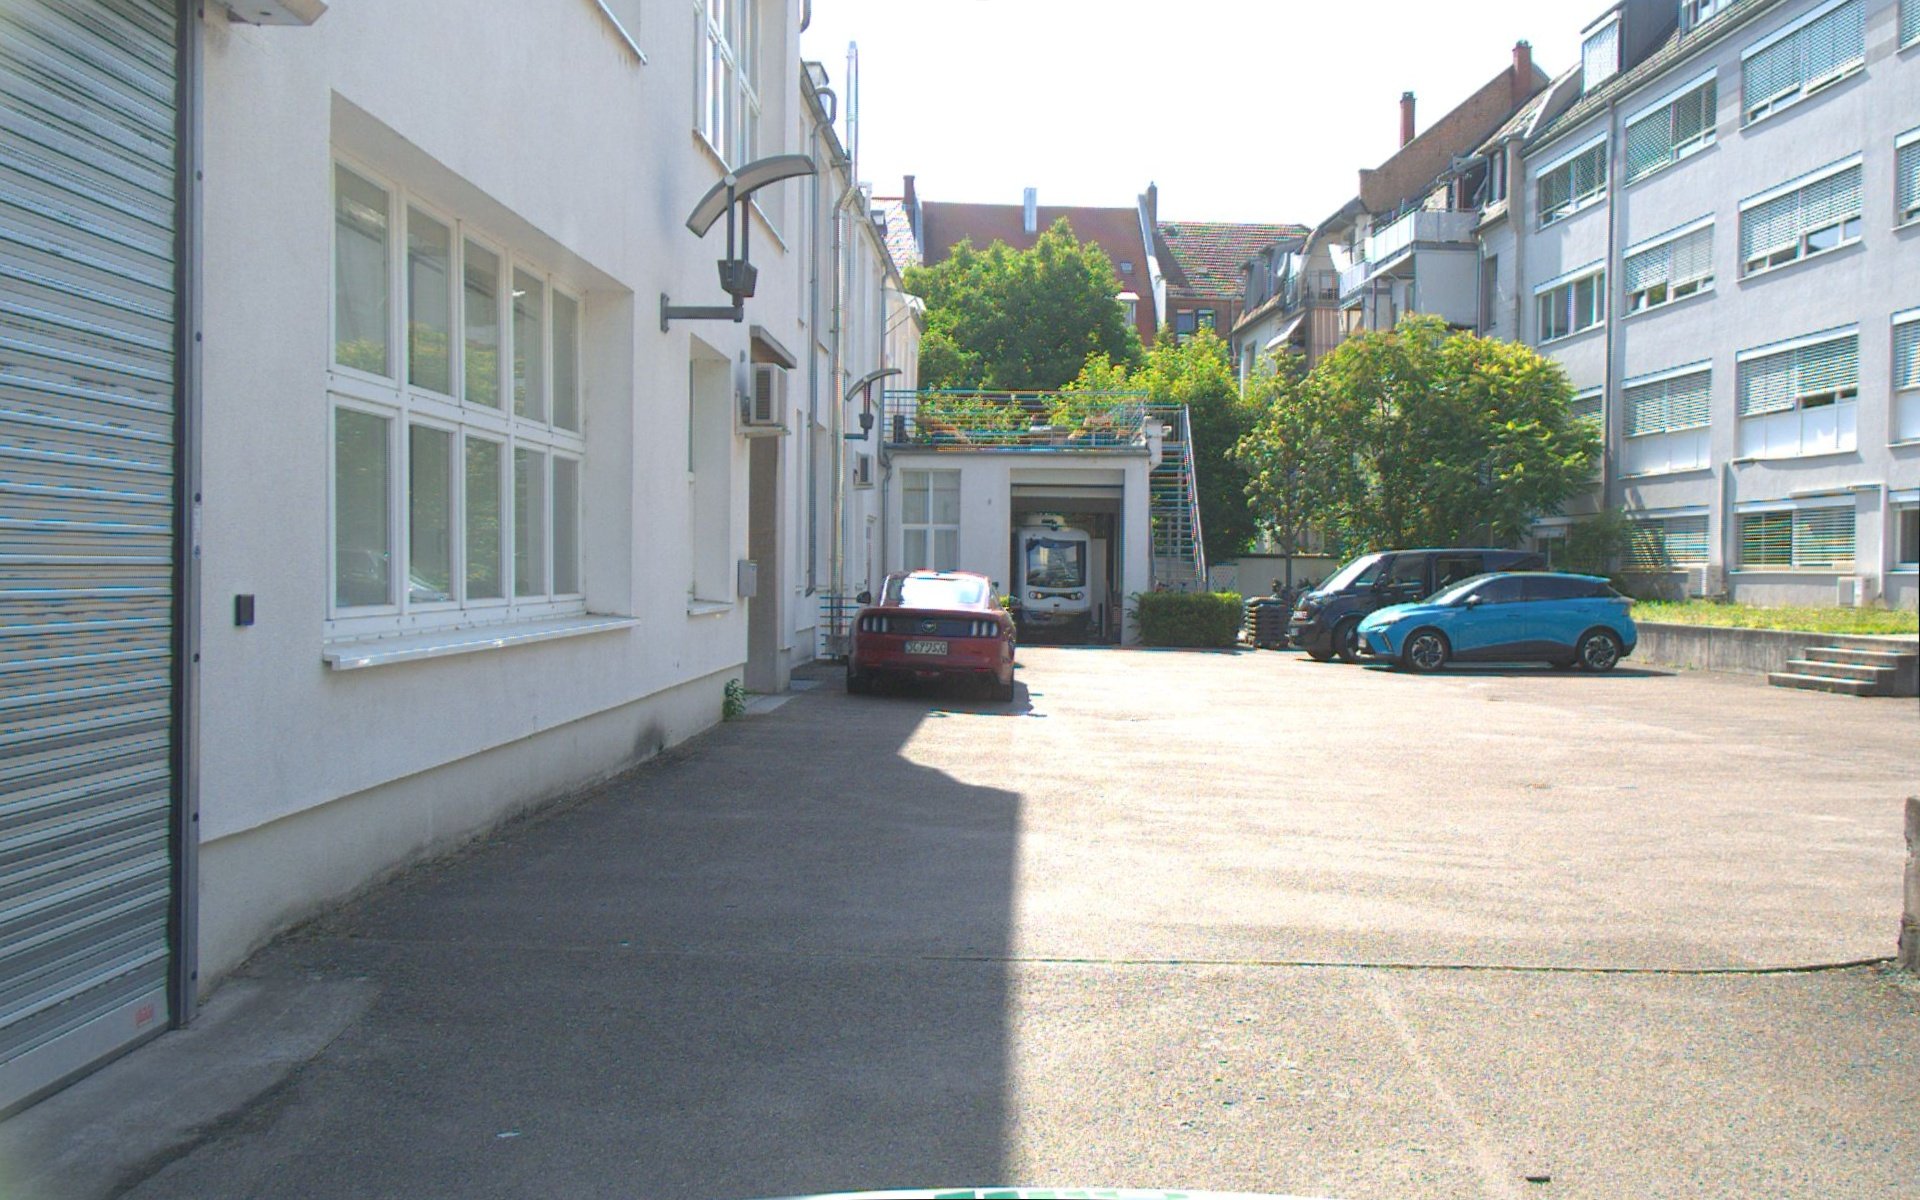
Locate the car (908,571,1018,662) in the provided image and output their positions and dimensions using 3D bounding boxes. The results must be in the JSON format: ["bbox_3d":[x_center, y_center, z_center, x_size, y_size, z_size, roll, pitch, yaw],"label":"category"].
[{"bbox_3d":[0.108,0.215,26.339,1.580,1.318,3.760,0,1,3],"label":"car"}]

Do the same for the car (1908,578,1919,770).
[{"bbox_3d":[9.026,0.554,11.483,3.904,1.418,1.689,0,1,2],"label":"car"}]

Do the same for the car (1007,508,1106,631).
[{"bbox_3d":[2.255,-0.694,39.192,2.129,2.652,6.737,0,1,3],"label":"car"}]

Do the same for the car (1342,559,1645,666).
[{"bbox_3d":[8.336,0.167,26.110,4.143,1.558,2.000,-1,2,-1],"label":"car"}]

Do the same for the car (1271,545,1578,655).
[{"bbox_3d":[8.195,-0.043,29.370,4.862,1.798,2.092,-1,2,-10],"label":"car"}]

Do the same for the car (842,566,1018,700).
[{"bbox_3d":[-0.259,0.310,19.458,1.813,1.342,4.001,2,1,2],"label":"car"}]
